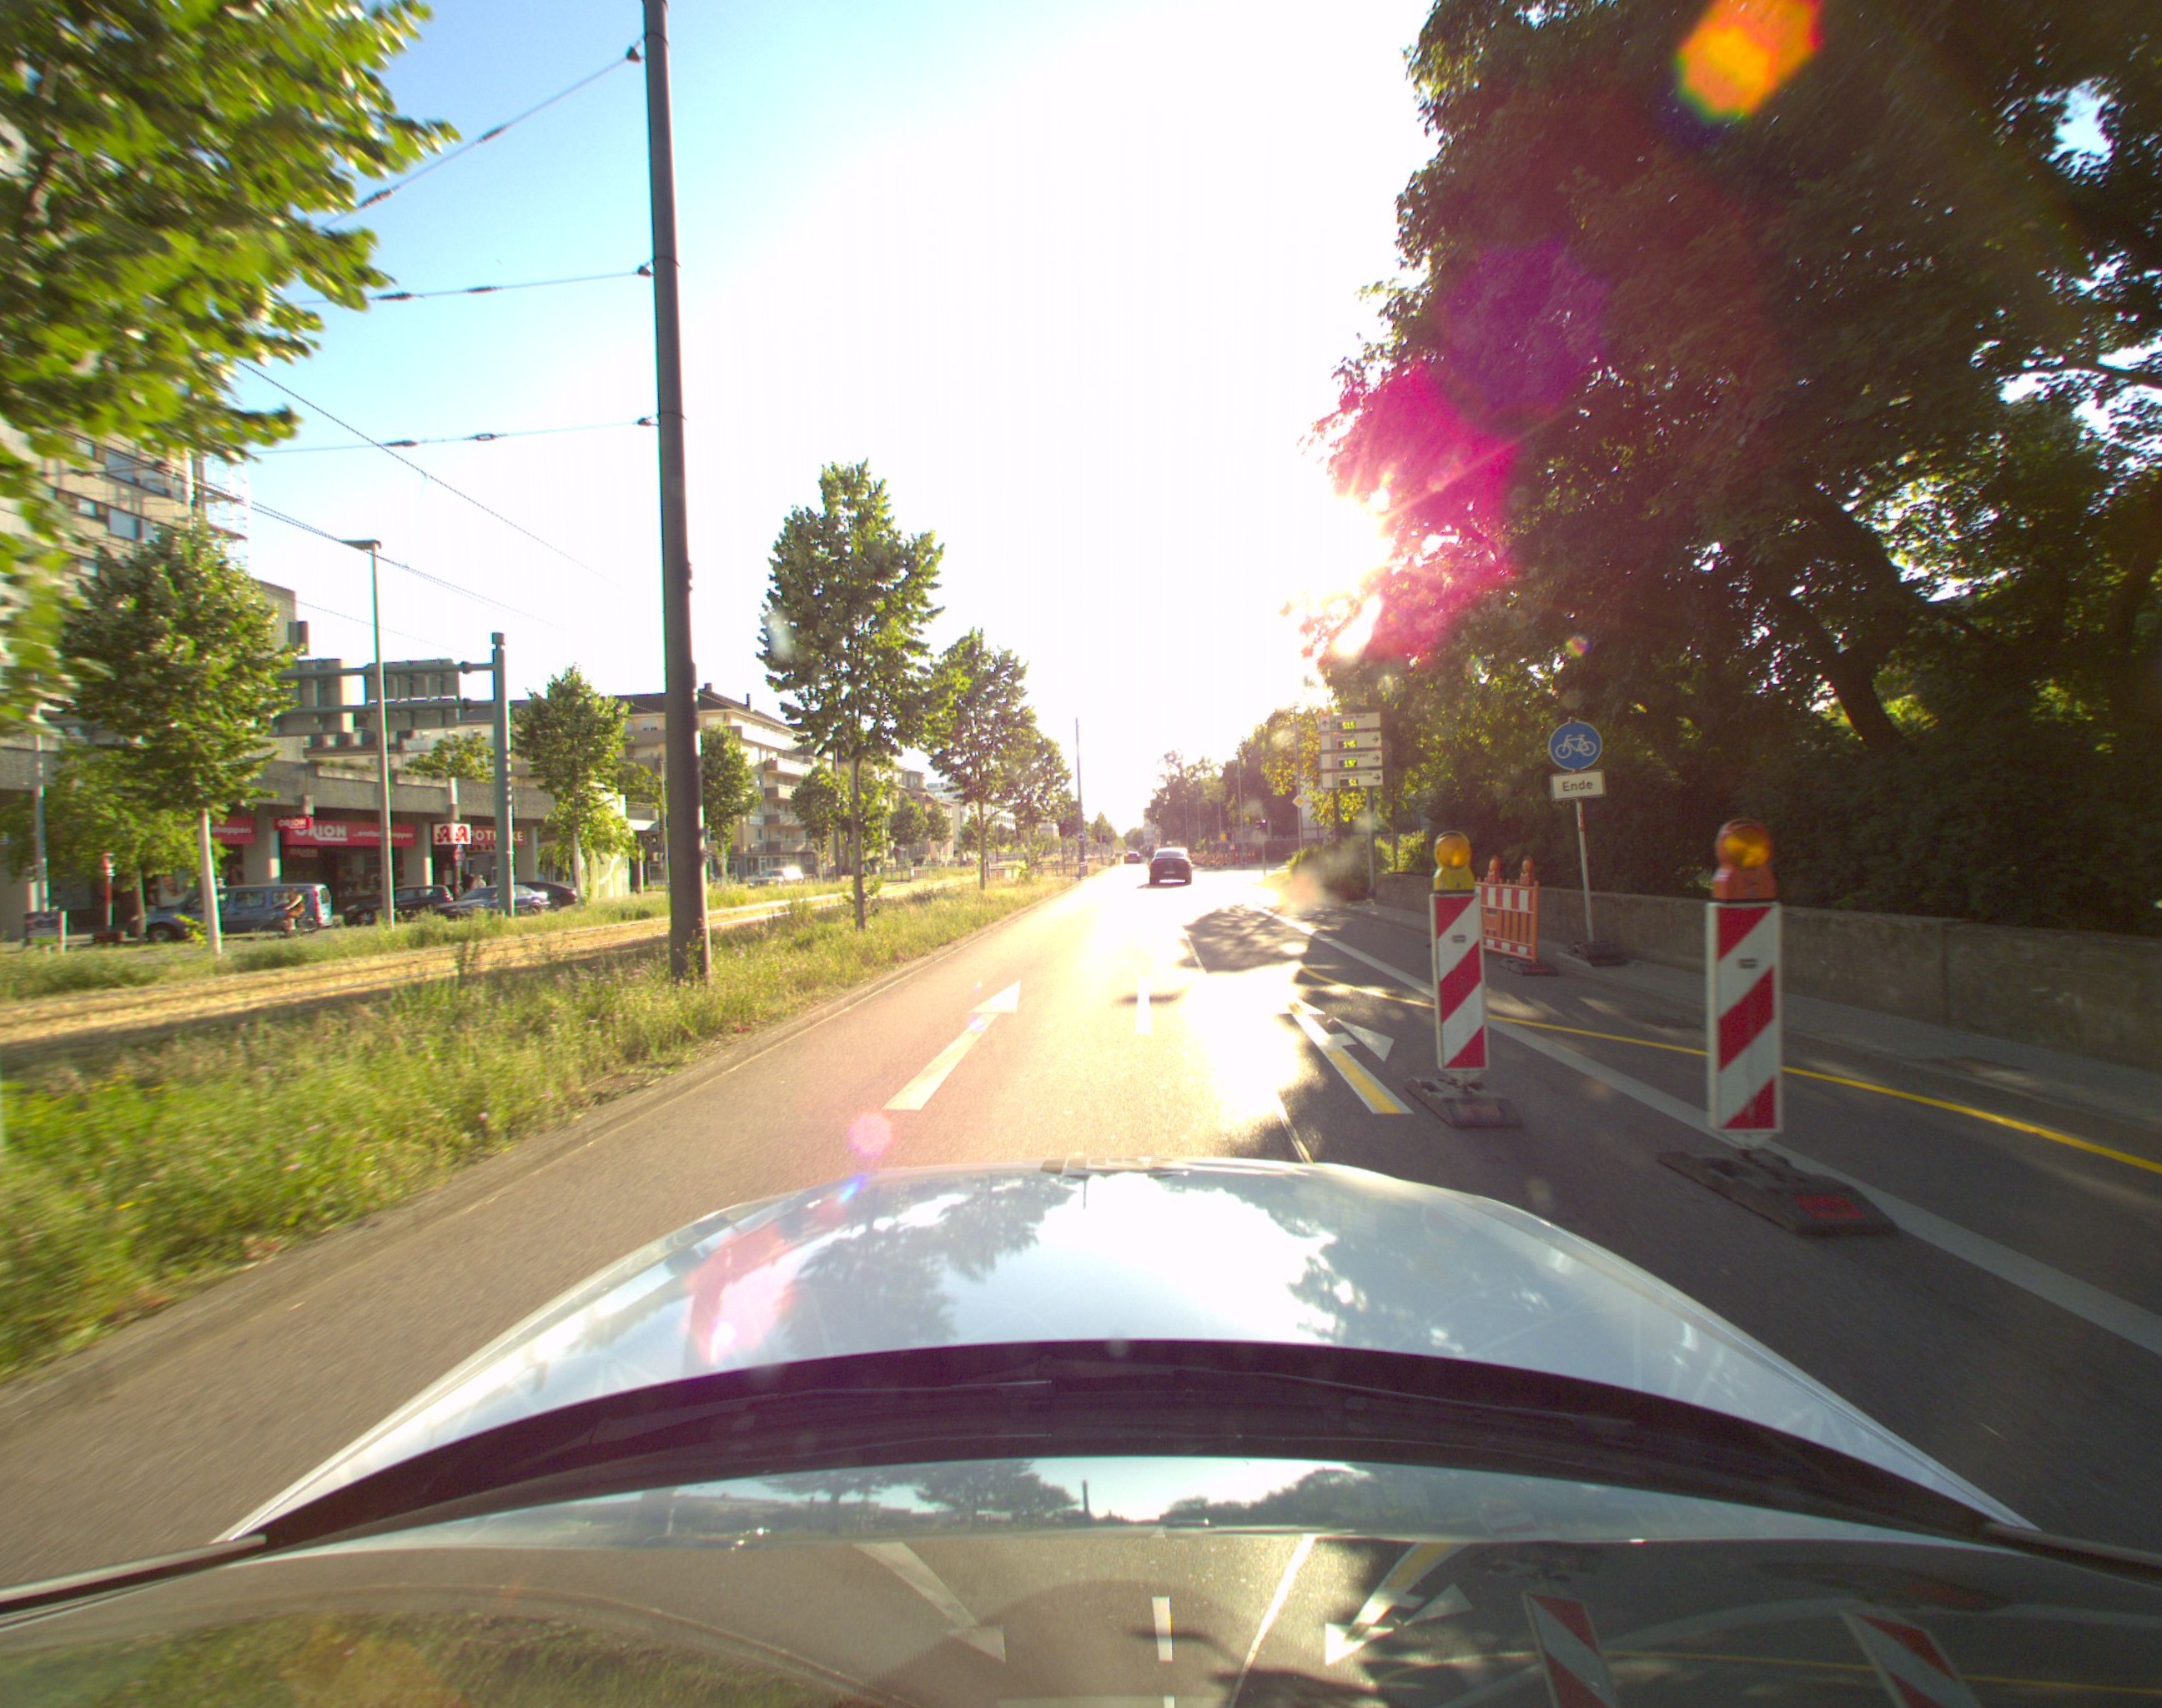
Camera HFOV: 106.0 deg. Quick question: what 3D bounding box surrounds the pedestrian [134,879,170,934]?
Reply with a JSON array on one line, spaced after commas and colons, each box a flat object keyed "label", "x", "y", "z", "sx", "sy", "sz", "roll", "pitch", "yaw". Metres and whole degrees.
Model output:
[{"label": "pedestrian", "x": -35.418, "y": 1.992, "z": 31.054, "sx": 0.545, "sy": 2.013, "sz": 0.655, "roll": -2, "pitch": 0, "yaw": 4}]

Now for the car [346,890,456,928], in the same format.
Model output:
[{"label": "car", "x": -28.395, "y": 2.261, "z": 34.105, "sx": 3.484, "sy": 1.402, "sz": 1.602, "roll": 0, "pitch": -1, "yaw": -40}]

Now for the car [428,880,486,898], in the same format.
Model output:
[{"label": "car", "x": -58.283, "y": 3.252, "z": 76.064, "sx": 3.970, "sy": 1.433, "sz": 1.849, "roll": -3, "pitch": 0, "yaw": 3}]

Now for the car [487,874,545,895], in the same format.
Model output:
[{"label": "car", "x": -52.348, "y": 2.835, "z": 75.465, "sx": 3.969, "sy": 1.743, "sz": 2.002, "roll": -2, "pitch": 0, "yaw": 4}]

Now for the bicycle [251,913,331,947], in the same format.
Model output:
[{"label": "bicycle", "x": -25.372, "y": 2.432, "z": 26.209, "sx": 0.434, "sy": 0.862, "sz": 2.104, "roll": -3, "pitch": 0, "yaw": 3}]

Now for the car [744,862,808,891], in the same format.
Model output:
[{"label": "car", "x": -18.823, "y": 1.344, "z": 50.567, "sx": 1.861, "sy": 1.588, "sz": 4.645, "roll": -2, "pitch": 0, "yaw": 4}]

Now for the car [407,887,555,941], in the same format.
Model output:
[{"label": "car", "x": -21.945, "y": 2.136, "z": 30.055, "sx": 1.861, "sy": 1.702, "sz": 4.494, "roll": 0, "pitch": 0, "yaw": 4}]

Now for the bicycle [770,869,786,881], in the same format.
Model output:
[{"label": "bicycle", "x": -32.212, "y": 2.229, "z": 86.665, "sx": 0.528, "sy": 1.137, "sz": 2.589, "roll": -2, "pitch": 0, "yaw": 4}]

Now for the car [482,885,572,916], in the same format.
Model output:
[{"label": "car", "x": -26.715, "y": 2.214, "z": 39.320, "sx": 3.484, "sy": 1.274, "sz": 1.602, "roll": 0, "pitch": -1, "yaw": -40}]

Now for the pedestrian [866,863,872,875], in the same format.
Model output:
[{"label": "pedestrian", "x": -26.428, "y": 1.881, "z": 101.672, "sx": 0.523, "sy": 1.555, "sz": 0.443, "roll": -2, "pitch": 0, "yaw": -42}]

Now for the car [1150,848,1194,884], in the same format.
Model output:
[{"label": "car", "x": 4.378, "y": 0.566, "z": 39.645, "sx": 1.996, "sy": 1.659, "sz": 4.004, "roll": 0, "pitch": 0, "yaw": 4}]

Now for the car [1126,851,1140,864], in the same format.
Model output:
[{"label": "car", "x": 6.882, "y": 0.476, "z": 107.994, "sx": 1.818, "sy": 1.659, "sz": 4.004, "roll": 0, "pitch": 0, "yaw": 4}]

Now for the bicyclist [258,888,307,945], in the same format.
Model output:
[{"label": "bicyclist", "x": -25.442, "y": 1.973, "z": 25.952, "sx": 0.555, "sy": 1.745, "sz": 0.920, "roll": -3, "pitch": 0, "yaw": 2}]

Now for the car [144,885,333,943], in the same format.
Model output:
[{"label": "car", "x": -28.323, "y": 1.971, "z": 27.588, "sx": 4.215, "sy": 1.690, "sz": 1.603, "roll": 0, "pitch": -1, "yaw": -37}]

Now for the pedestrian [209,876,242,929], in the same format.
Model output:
[{"label": "pedestrian", "x": -34.044, "y": 1.921, "z": 32.413, "sx": 0.545, "sy": 2.013, "sz": 0.655, "roll": -2, "pitch": 0, "yaw": 4}]

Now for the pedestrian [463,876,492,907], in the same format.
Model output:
[{"label": "pedestrian", "x": -32.309, "y": 1.998, "z": 43.606, "sx": 0.771, "sy": 1.639, "sz": 0.883, "roll": -2, "pitch": 0, "yaw": 3}]
